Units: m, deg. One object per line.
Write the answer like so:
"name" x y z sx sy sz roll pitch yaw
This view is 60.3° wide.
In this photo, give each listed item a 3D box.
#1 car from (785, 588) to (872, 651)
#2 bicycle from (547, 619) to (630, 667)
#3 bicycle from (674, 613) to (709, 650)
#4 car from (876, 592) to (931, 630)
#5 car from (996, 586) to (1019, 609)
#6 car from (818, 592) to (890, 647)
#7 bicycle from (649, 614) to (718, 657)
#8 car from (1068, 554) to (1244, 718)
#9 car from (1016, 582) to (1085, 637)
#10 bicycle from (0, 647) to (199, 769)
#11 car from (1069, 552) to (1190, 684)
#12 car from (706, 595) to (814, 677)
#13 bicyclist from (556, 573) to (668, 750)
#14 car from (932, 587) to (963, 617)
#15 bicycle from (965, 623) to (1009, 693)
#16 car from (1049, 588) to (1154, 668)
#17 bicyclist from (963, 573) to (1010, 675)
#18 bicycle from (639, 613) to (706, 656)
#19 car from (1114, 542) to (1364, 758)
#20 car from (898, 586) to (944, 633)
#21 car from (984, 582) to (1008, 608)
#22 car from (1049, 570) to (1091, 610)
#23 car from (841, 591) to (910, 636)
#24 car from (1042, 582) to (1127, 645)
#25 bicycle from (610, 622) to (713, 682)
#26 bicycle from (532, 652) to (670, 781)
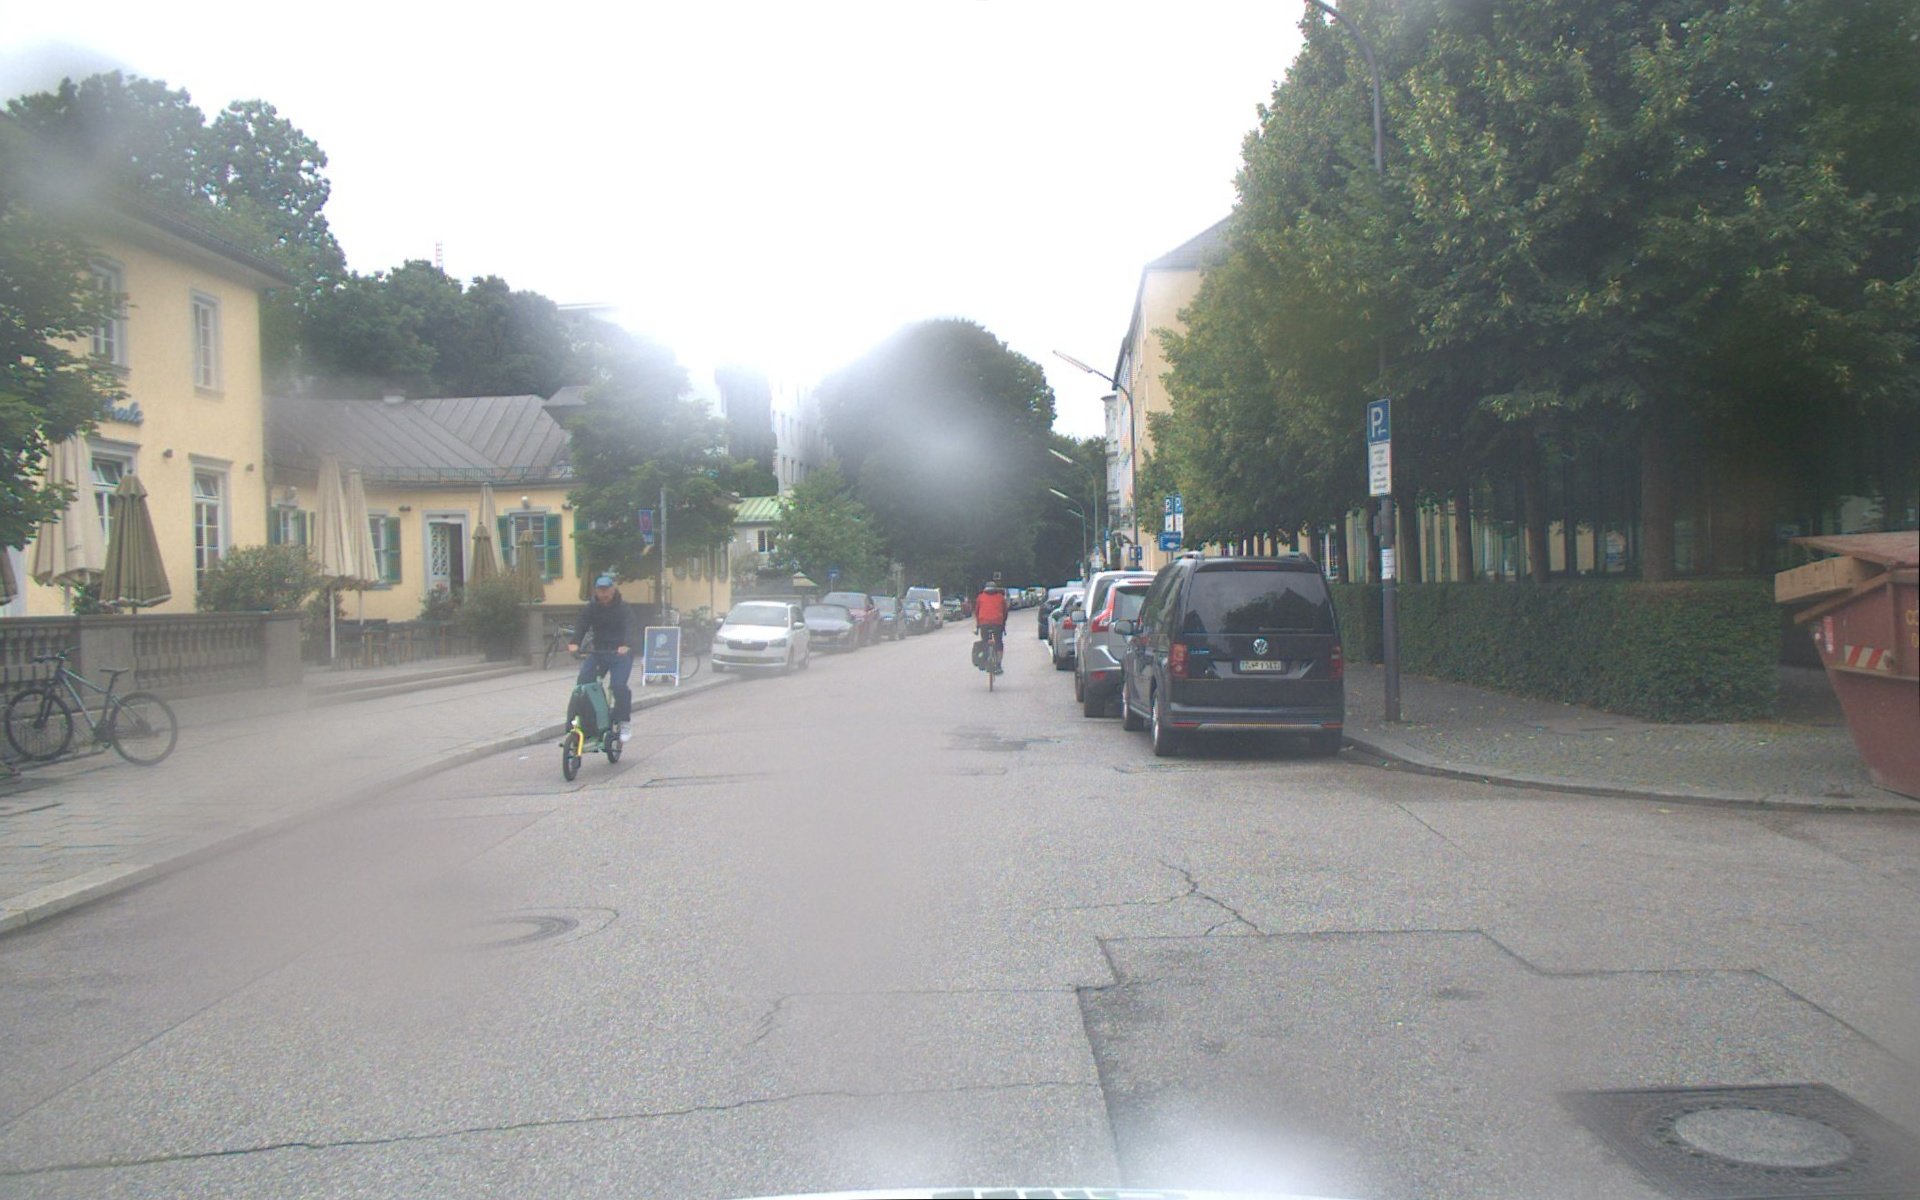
"car" -3.749 0.510 47.944 1.952 1.677 4.656 -2 0 2
"bicycle" -7.858 0.902 34.976 1.593 0.942 0.646 -2 -1 -26
"bicycle" -7.627 0.898 47.016 0.608 1.022 1.619 -1 -1 5
"car" -2.380 0.456 70.899 1.952 1.512 4.002 -2 1 3
"car" 4.358 -0.215 151.581 1.952 2.049 4.001 1 0 3
"car" -3.360 0.613 53.015 1.952 1.631 4.000 -1 -1 1
"bicycle" -7.012 0.890 41.912 1.593 1.022 0.618 -2 -1 -26
"car" 2.410 0.390 21.356 1.824 1.825 4.511 -2 1 2
"car" 2.900 0.282 53.578 1.953 1.646 4.000 -1 0 0
"bicycle" -8.391 1.023 15.877 1.890 1.118 0.615 0 0 2
"car" 2.747 0.252 27.567 1.713 1.977 4.229 -2 1 3
"car" -4.211 0.725 35.347 1.698 1.609 3.789 1 0 2
"bicyclist" -3.284 0.557 15.674 0.727 1.603 0.978 -2 0 5
"car" -0.749 0.098 102.269 1.773 1.712 4.001 -2 1 1
"bicycle" 0.439 0.878 25.730 0.608 1.022 2.140 -2 -1 2
"car" 2.761 0.511 33.101 1.824 1.465 4.256 -1 0 1
"bicyclist" 0.421 0.378 25.705 0.658 1.524 1.095 -2 -1 1
"bicycle" -7.498 0.902 43.136 1.601 1.021 0.615 -3 -1 -37
"car" 2.636 0.417 16.535 1.725 1.855 4.138 -1 0 -1
"car" -1.844 0.427 79.491 1.952 2.116 4.001 -2 0 1
"car" 3.063 -0.458 140.025 1.952 2.135 4.001 1 1 1
"car" 5.978 -0.547 90.281 1.953 2.096 4.623 -1 0 0
"car" -3.025 0.464 60.013 1.951 1.512 4.003 0 1 5
"car" 3.304 0.338 44.621 1.953 1.579 4.000 -1 0 0
"bicycle" -5.531 0.957 30.814 0.610 1.021 2.135 1 1 32
"bicycle" -3.337 1.057 15.572 0.608 1.021 2.142 -2 1 6
